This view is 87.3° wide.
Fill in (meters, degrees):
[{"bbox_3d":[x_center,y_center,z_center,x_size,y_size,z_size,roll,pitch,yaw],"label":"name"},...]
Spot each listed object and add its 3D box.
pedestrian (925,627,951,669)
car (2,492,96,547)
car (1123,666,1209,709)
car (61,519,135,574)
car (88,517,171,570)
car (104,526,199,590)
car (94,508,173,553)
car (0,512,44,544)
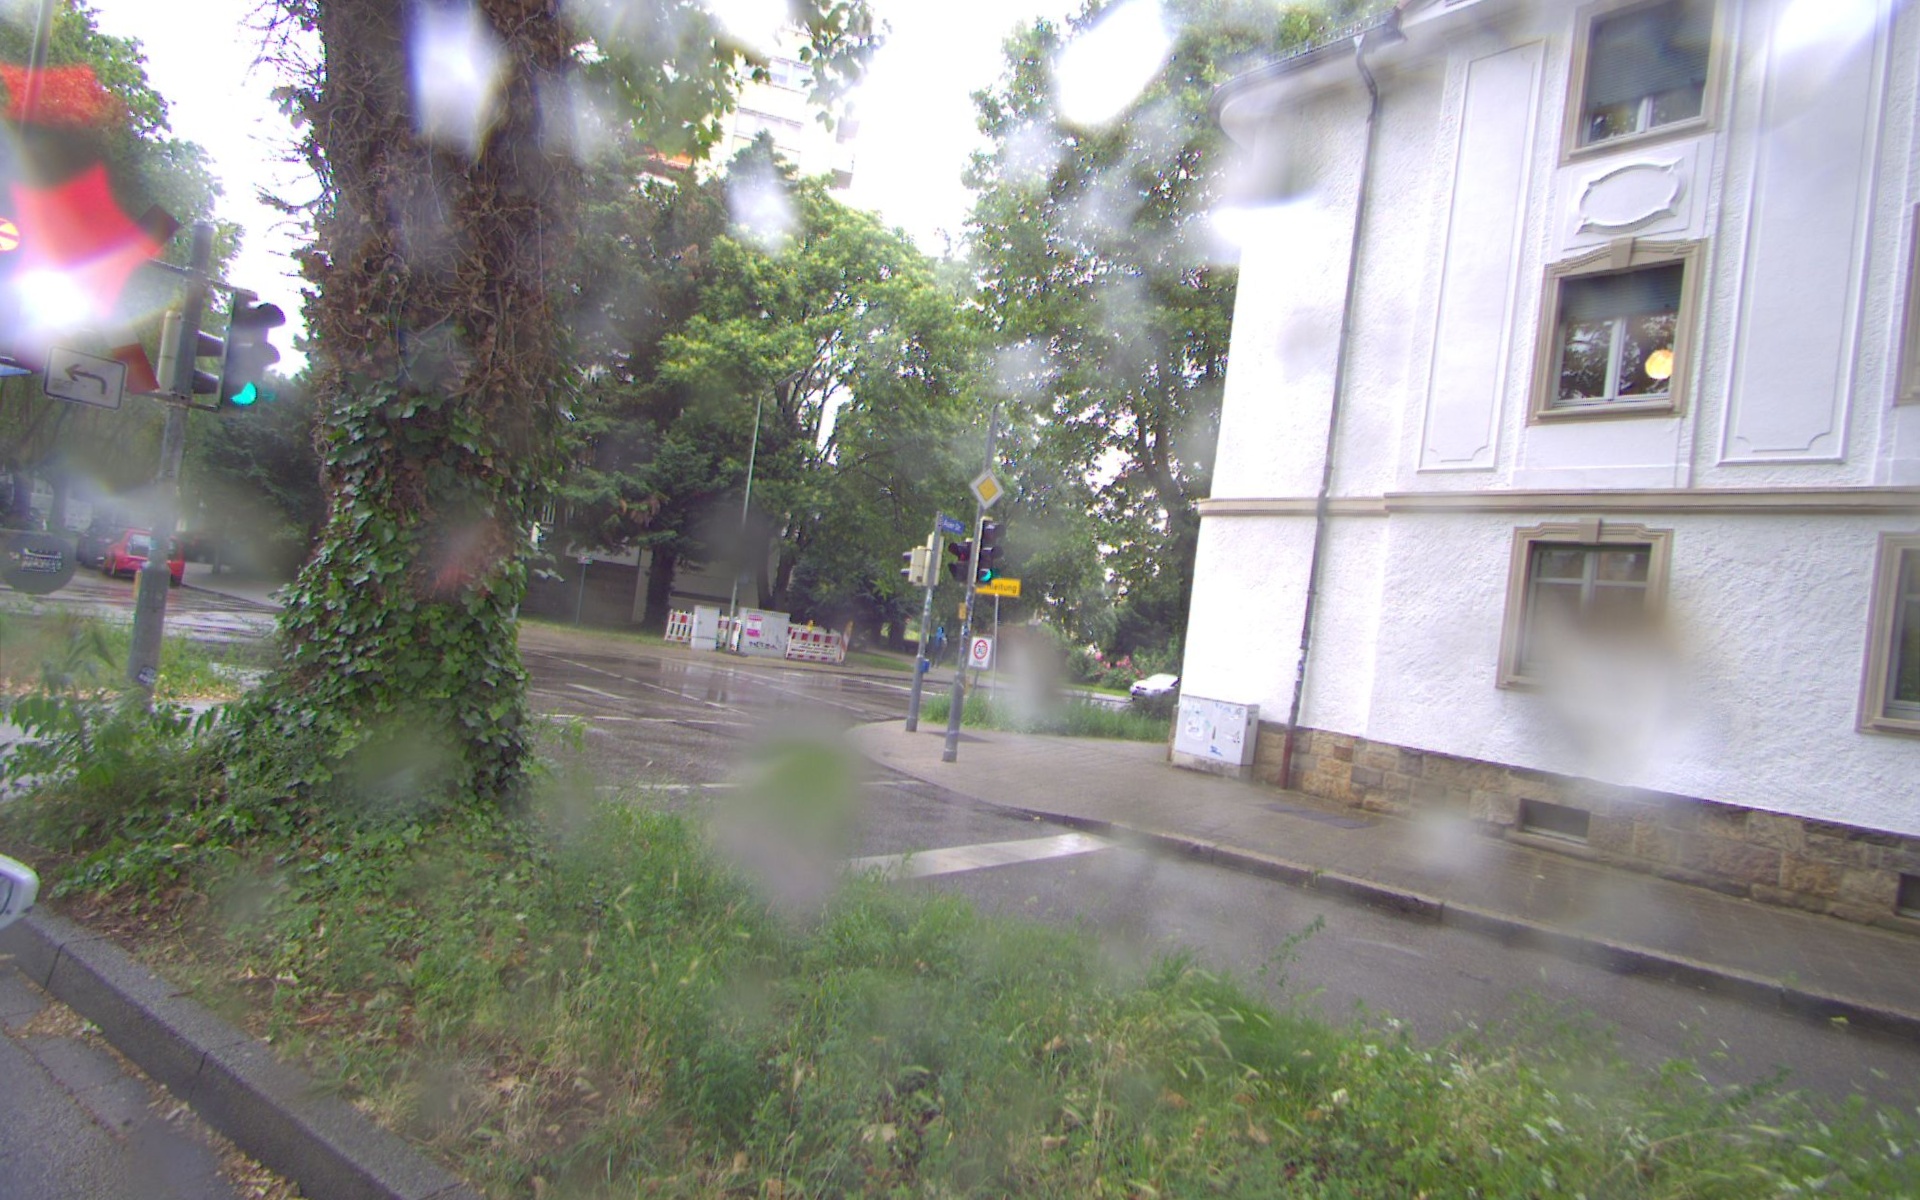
[{"bbox_3d":[-1.038,2.246,47.476,0.675,1.863,0.707,8,-1,-44],"label":"pedestrian"},{"bbox_3d":[-61.114,-5.390,67.534,4.680,2.982,2.043,7,-1,12],"label":"car"},{"bbox_3d":[9.408,4.001,45.806,1.829,1.473,3.979,6,-3,45],"label":"car"},{"bbox_3d":[-32.986,-2.077,38.456,1.779,1.747,3.951,9,-2,-44],"label":"car"},{"bbox_3d":[-28.101,-1.937,34.001,1.780,1.363,3.879,10,-2,-44],"label":"car"},{"bbox_3d":[-24.834,-1.308,30.844,1.788,1.515,3.950,10,-2,-44],"label":"car"},{"bbox_3d":[-69.651,-5.840,84.815,4.683,2.982,2.001,7,-1,1],"label":"car"},{"bbox_3d":[-56.207,-4.376,58.630,1.974,1.565,3.980,6,-3,44],"label":"car"}]
